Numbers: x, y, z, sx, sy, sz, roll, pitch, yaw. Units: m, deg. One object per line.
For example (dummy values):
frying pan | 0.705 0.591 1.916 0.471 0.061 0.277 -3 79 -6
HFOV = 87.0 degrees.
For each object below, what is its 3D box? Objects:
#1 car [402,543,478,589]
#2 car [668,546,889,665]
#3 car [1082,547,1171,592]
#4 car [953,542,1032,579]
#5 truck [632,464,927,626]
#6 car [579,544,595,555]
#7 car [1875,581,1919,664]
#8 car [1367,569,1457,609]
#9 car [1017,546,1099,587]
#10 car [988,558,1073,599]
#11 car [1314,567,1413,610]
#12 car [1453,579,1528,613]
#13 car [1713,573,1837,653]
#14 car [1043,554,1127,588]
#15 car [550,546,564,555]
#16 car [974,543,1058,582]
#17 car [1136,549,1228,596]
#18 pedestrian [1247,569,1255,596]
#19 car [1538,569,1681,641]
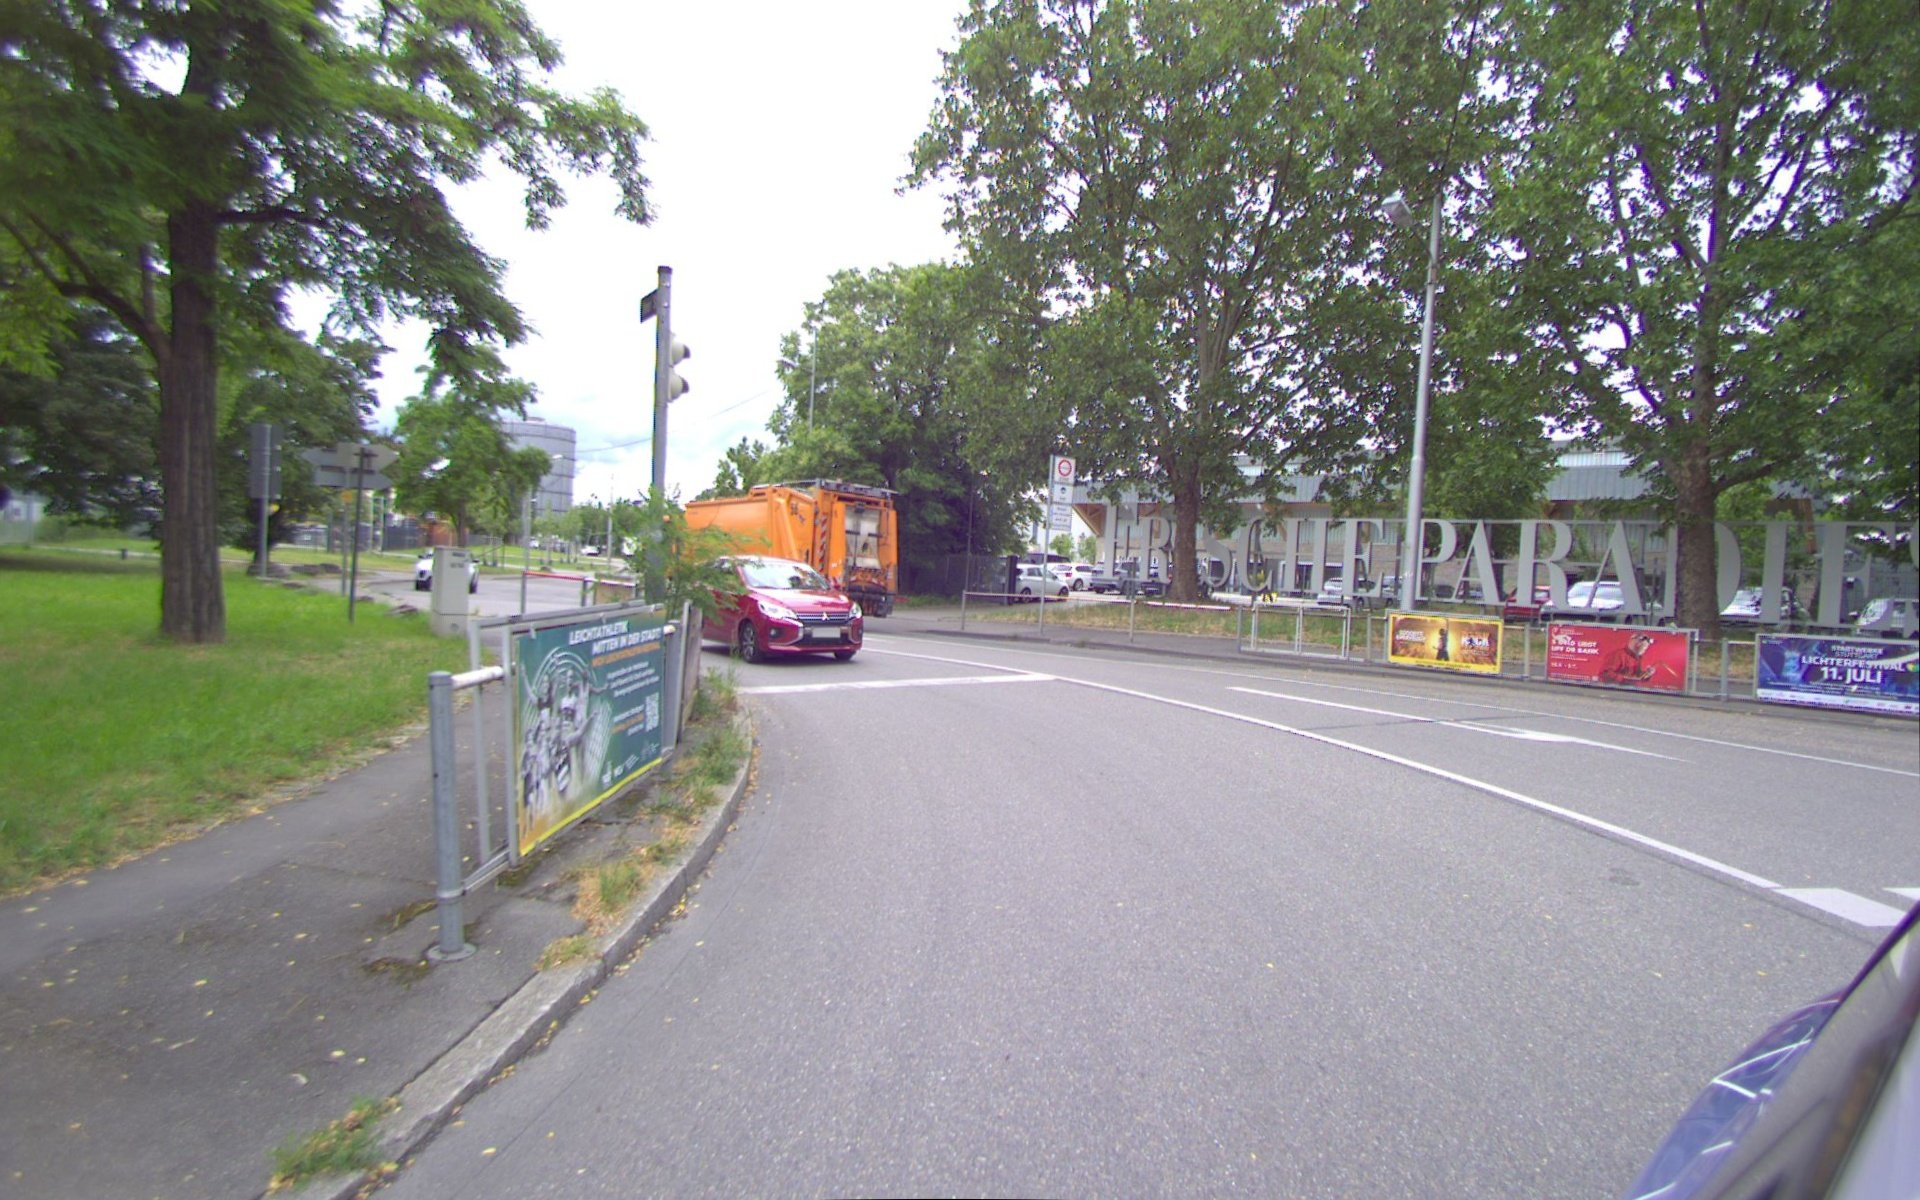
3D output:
car | -19.066 -1.277 37.039 2.009 1.554 3.945 -2 4 -34
car | -2.812 -0.007 14.994 1.701 1.483 3.835 0 3 -36
car | 8.549 -1.539 51.828 4.560 2.038 1.997 2 2 -42
car | 2.040 -2.417 62.512 4.740 2.038 1.997 2 2 -42
truck | -5.297 -1.400 27.233 2.749 3.570 10.407 2 1 -41
car | -63.155 -8.554 171.404 2.005 1.555 3.950 4 1 -26
car | 20.891 0.538 21.630 3.932 1.633 1.589 2 2 -43
car | 20.581 -0.474 46.003 4.560 1.580 1.997 2 2 -42
car | 5.591 -1.896 57.285 4.560 2.038 1.997 2 2 -42
car | 3.015 -0.897 42.784 1.477 1.523 3.670 5 2 44
car | 17.066 -0.483 42.695 4.560 1.580 1.997 2 2 -42
car | 28.094 -0.190 53.563 4.560 1.580 1.997 2 2 -42
car | 19.100 0.329 23.647 4.244 1.633 1.589 2 2 -43
car | 6.783 -1.541 54.648 4.560 1.577 1.997 2 2 -42
car | -76.167 -9.393 191.378 2.005 1.555 3.950 4 1 -26
car | 3.362 -2.244 60.379 5.014 2.023 1.997 2 2 -42
car | 10.900 -1.308 49.516 4.560 2.038 1.997 2 2 -42
pedestrian | 19.261 -1.162 66.965 0.338 1.787 0.434 4 0 25
car | 17.003 0.150 26.404 4.445 1.633 1.882 3 2 -41
